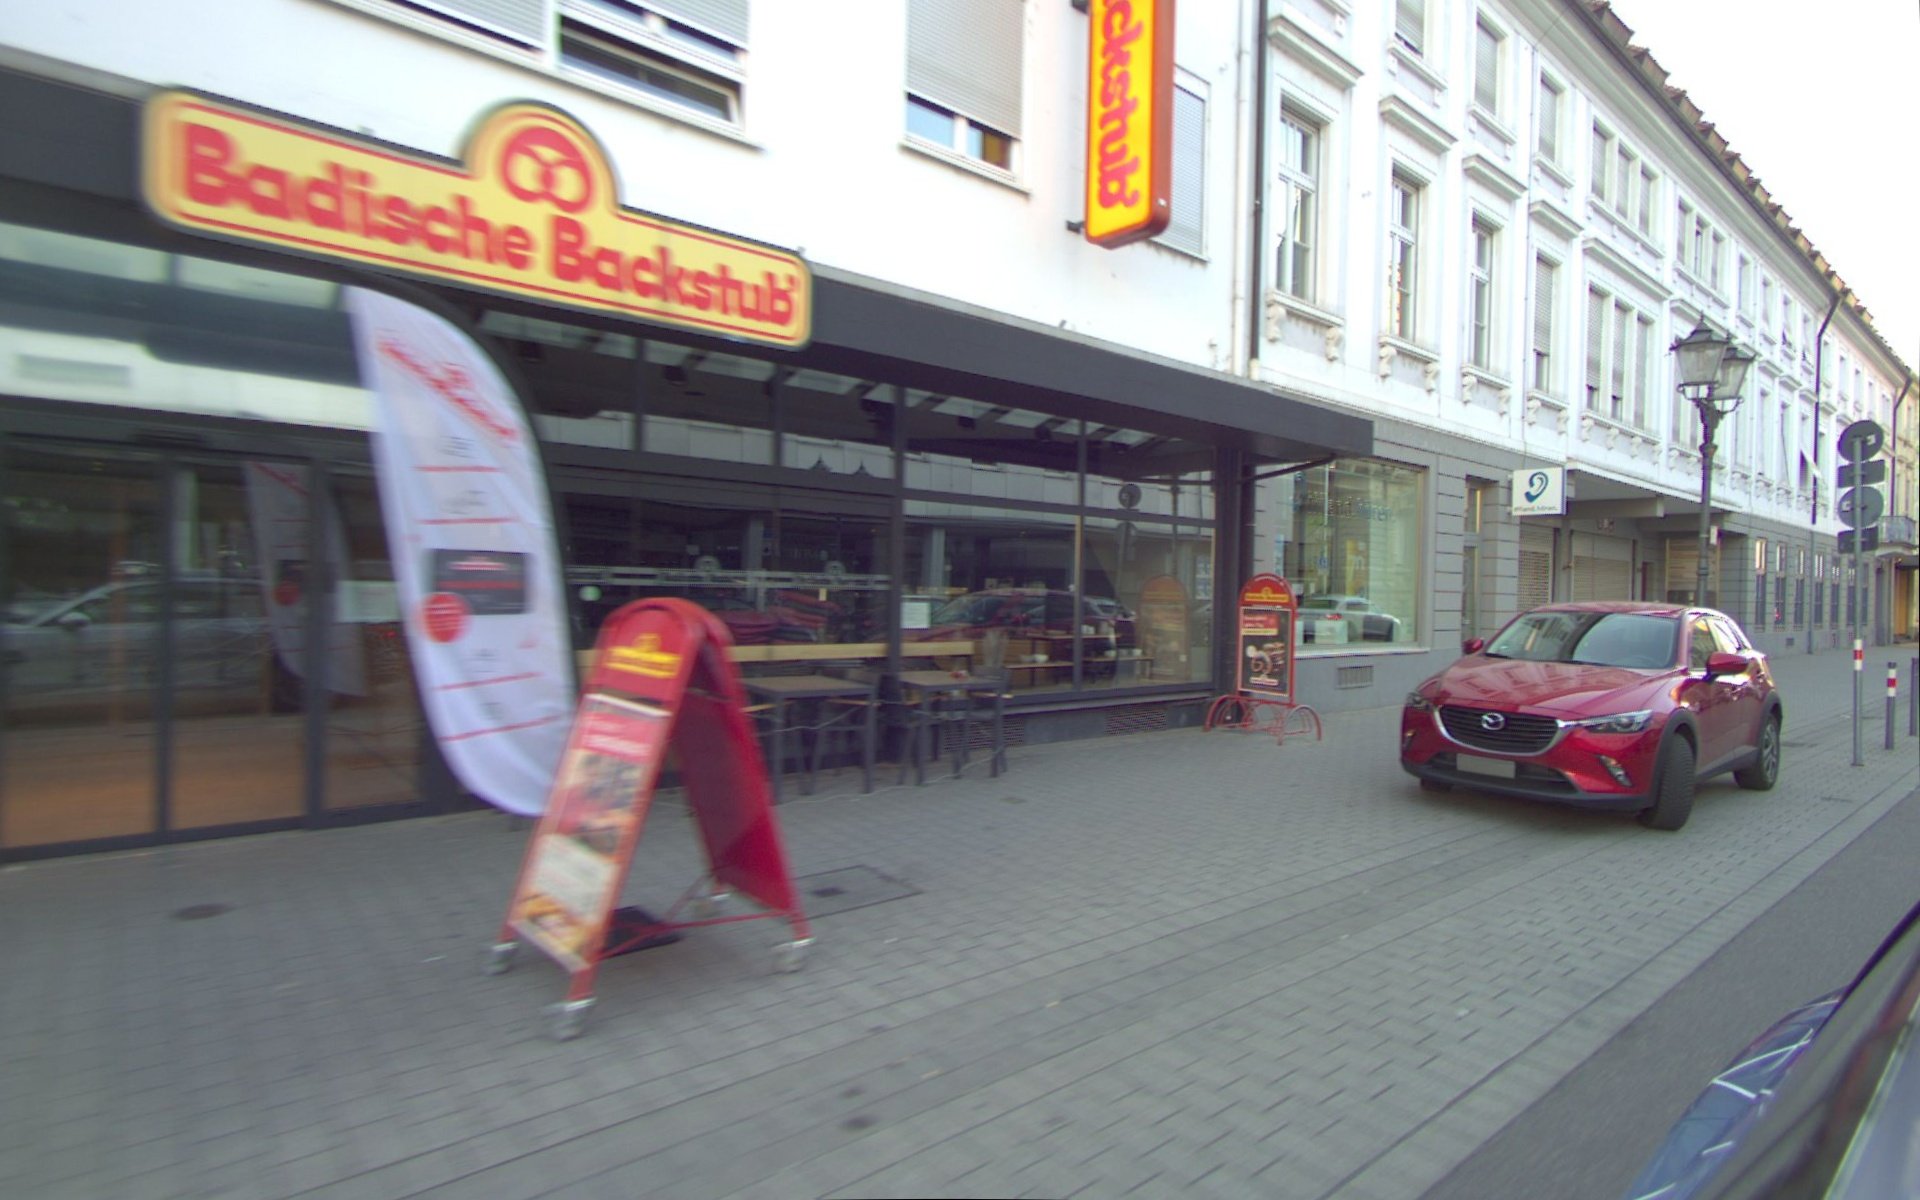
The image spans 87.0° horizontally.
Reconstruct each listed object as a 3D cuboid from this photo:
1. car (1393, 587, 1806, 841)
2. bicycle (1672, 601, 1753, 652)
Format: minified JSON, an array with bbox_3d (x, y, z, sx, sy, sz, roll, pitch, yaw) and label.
[{"bbox_3d":[5.258,0.716,8.177,3.611,1.542,1.763,1,2,-40],"label":"car"},{"bbox_3d":[19.886,0.683,26.758,0.431,1.268,1.659,1,0,-42],"label":"bicycle"}]
